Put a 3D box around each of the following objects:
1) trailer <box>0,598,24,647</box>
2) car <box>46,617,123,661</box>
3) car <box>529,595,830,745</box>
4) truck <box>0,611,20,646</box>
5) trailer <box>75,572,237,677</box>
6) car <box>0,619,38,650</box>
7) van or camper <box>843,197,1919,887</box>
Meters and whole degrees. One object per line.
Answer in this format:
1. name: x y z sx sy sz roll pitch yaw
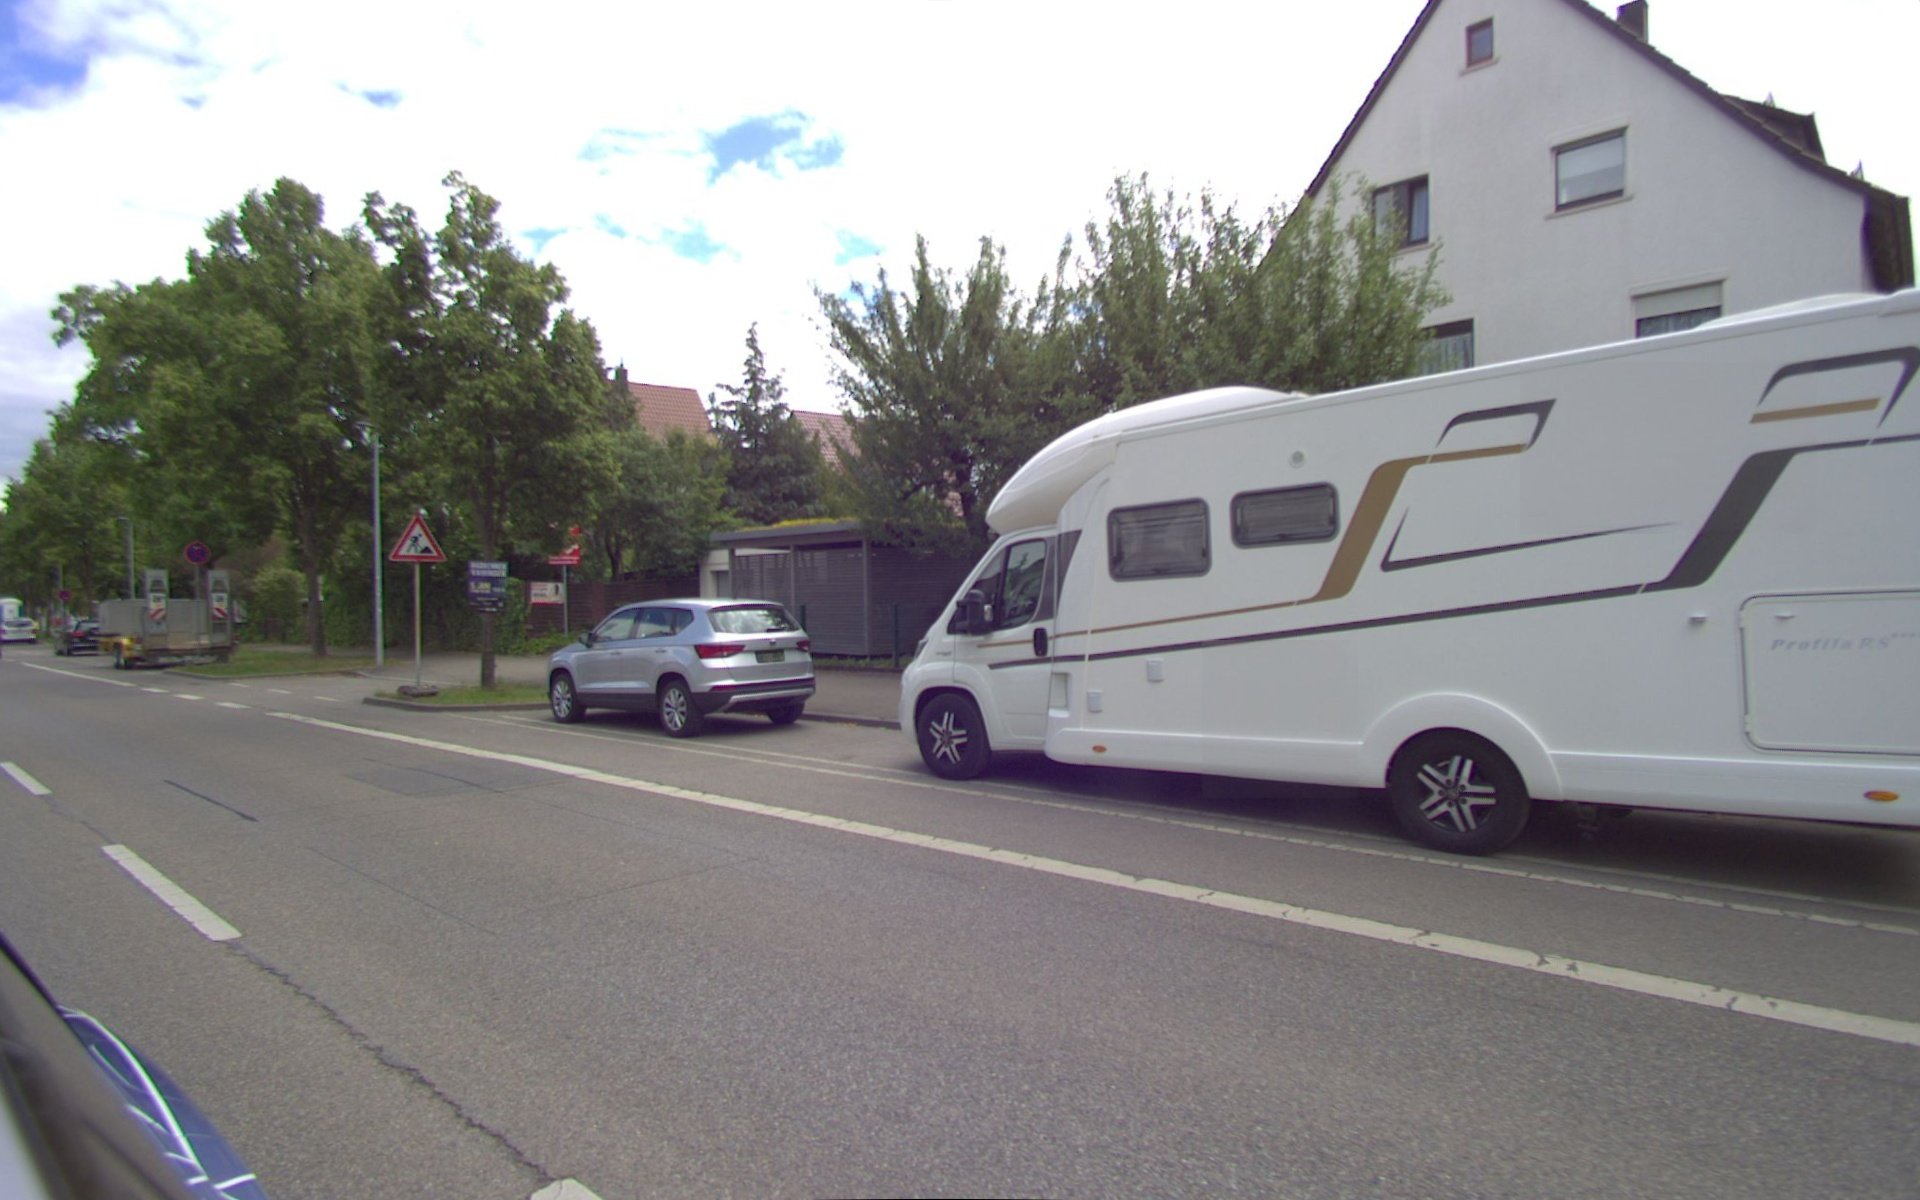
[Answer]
1. trailer: -61.048 1.438 64.250 2.344 2.985 7.016 0 -1 -43
2. car: -36.395 1.584 42.032 4.619 1.564 1.841 1 1 42
3. car: -3.729 0.791 13.024 4.271 1.612 1.704 -1 0 42
4. truck: -65.728 1.910 69.078 2.268 2.304 6.469 0 -1 -43
5. trailer: -25.671 0.696 32.158 7.471 2.963 2.646 0 1 41
6. car: -55.962 2.000 59.909 4.225 1.696 1.670 0 1 43
7. van or camper: 2.620 -0.205 7.492 7.690 3.032 2.409 -1 -1 42
